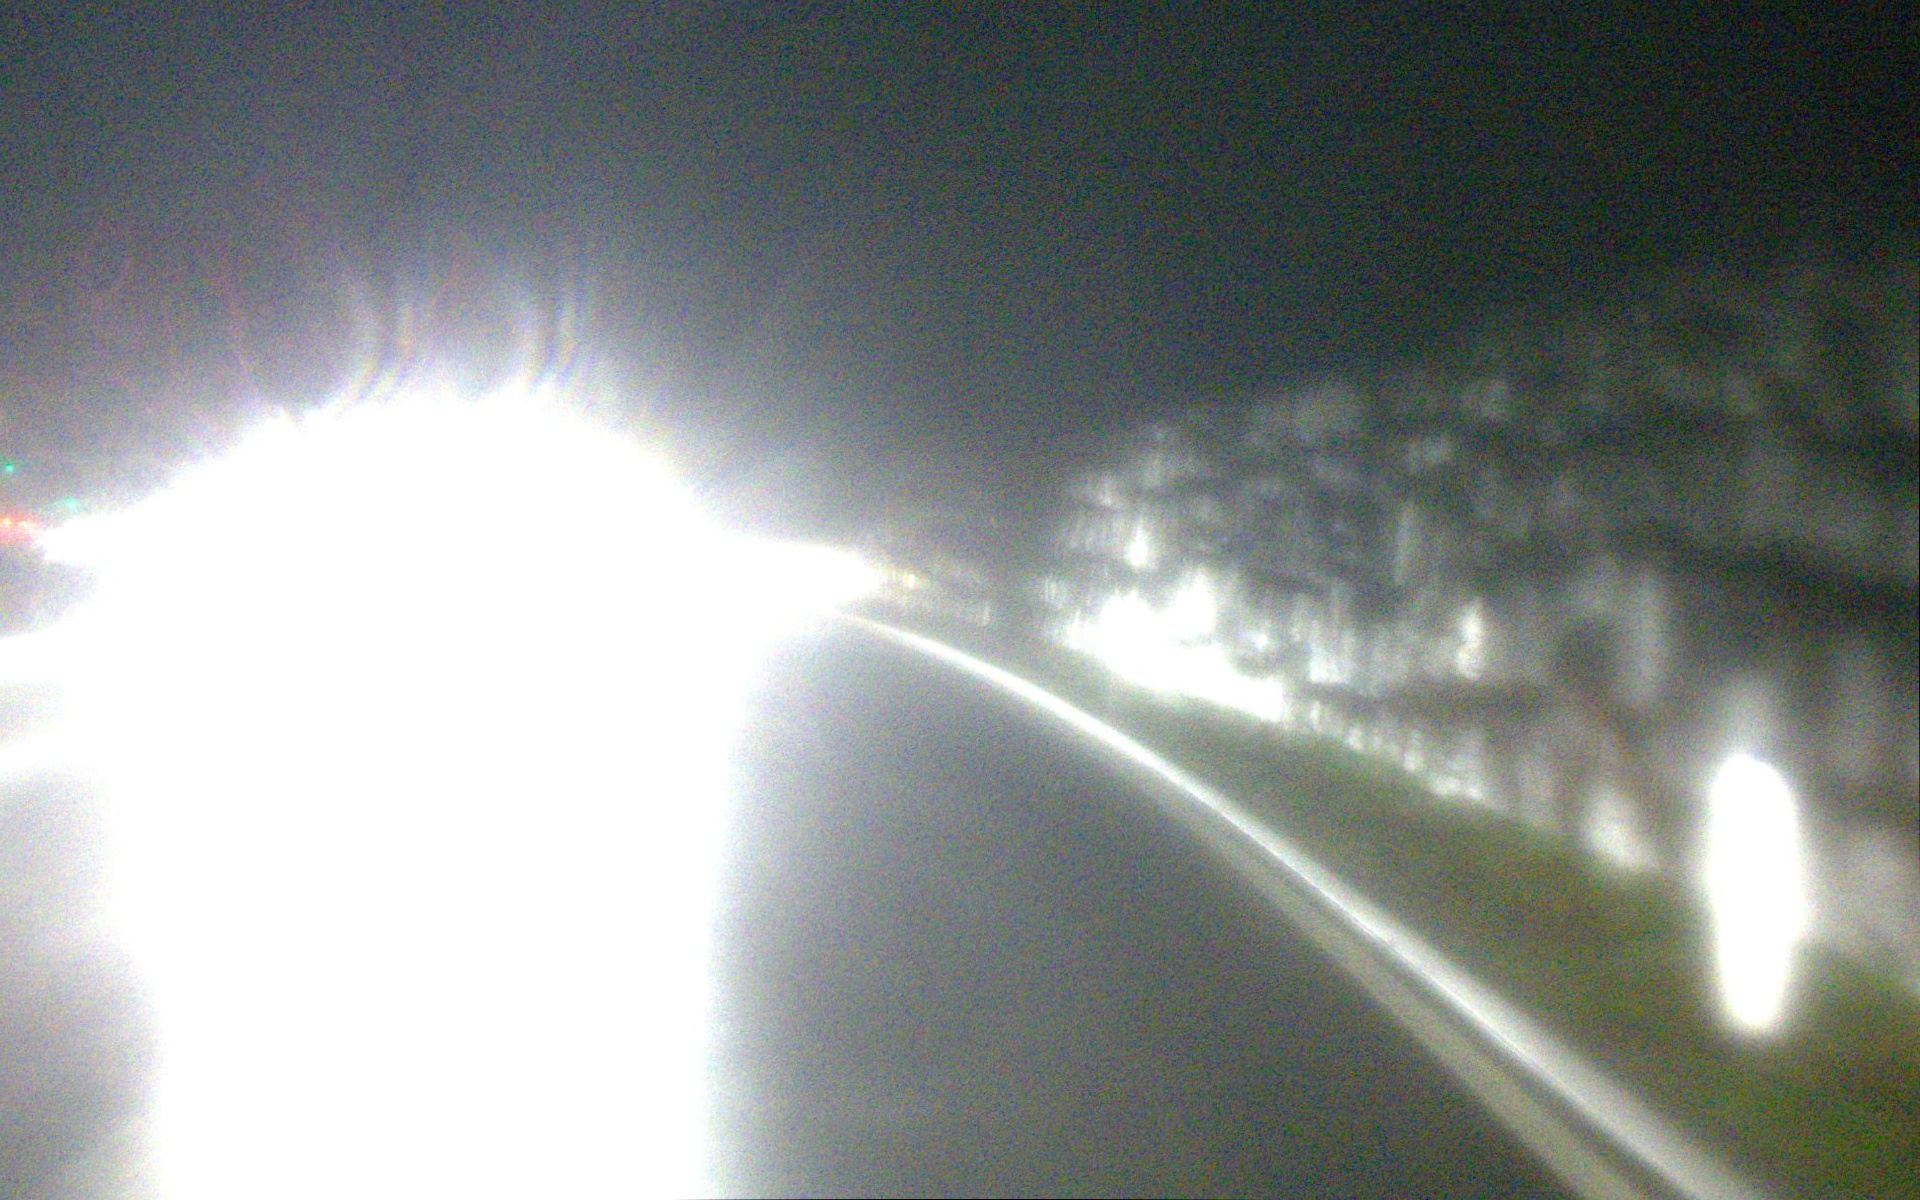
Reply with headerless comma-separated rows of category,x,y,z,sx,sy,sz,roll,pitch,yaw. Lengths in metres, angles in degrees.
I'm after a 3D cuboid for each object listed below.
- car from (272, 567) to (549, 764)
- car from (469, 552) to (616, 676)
car,-4.414,0.485,28.090,1.785,1.474,3.680,1,1,-2
car,-5.925,0.166,49.132,1.808,1.670,4.293,1,1,-3
